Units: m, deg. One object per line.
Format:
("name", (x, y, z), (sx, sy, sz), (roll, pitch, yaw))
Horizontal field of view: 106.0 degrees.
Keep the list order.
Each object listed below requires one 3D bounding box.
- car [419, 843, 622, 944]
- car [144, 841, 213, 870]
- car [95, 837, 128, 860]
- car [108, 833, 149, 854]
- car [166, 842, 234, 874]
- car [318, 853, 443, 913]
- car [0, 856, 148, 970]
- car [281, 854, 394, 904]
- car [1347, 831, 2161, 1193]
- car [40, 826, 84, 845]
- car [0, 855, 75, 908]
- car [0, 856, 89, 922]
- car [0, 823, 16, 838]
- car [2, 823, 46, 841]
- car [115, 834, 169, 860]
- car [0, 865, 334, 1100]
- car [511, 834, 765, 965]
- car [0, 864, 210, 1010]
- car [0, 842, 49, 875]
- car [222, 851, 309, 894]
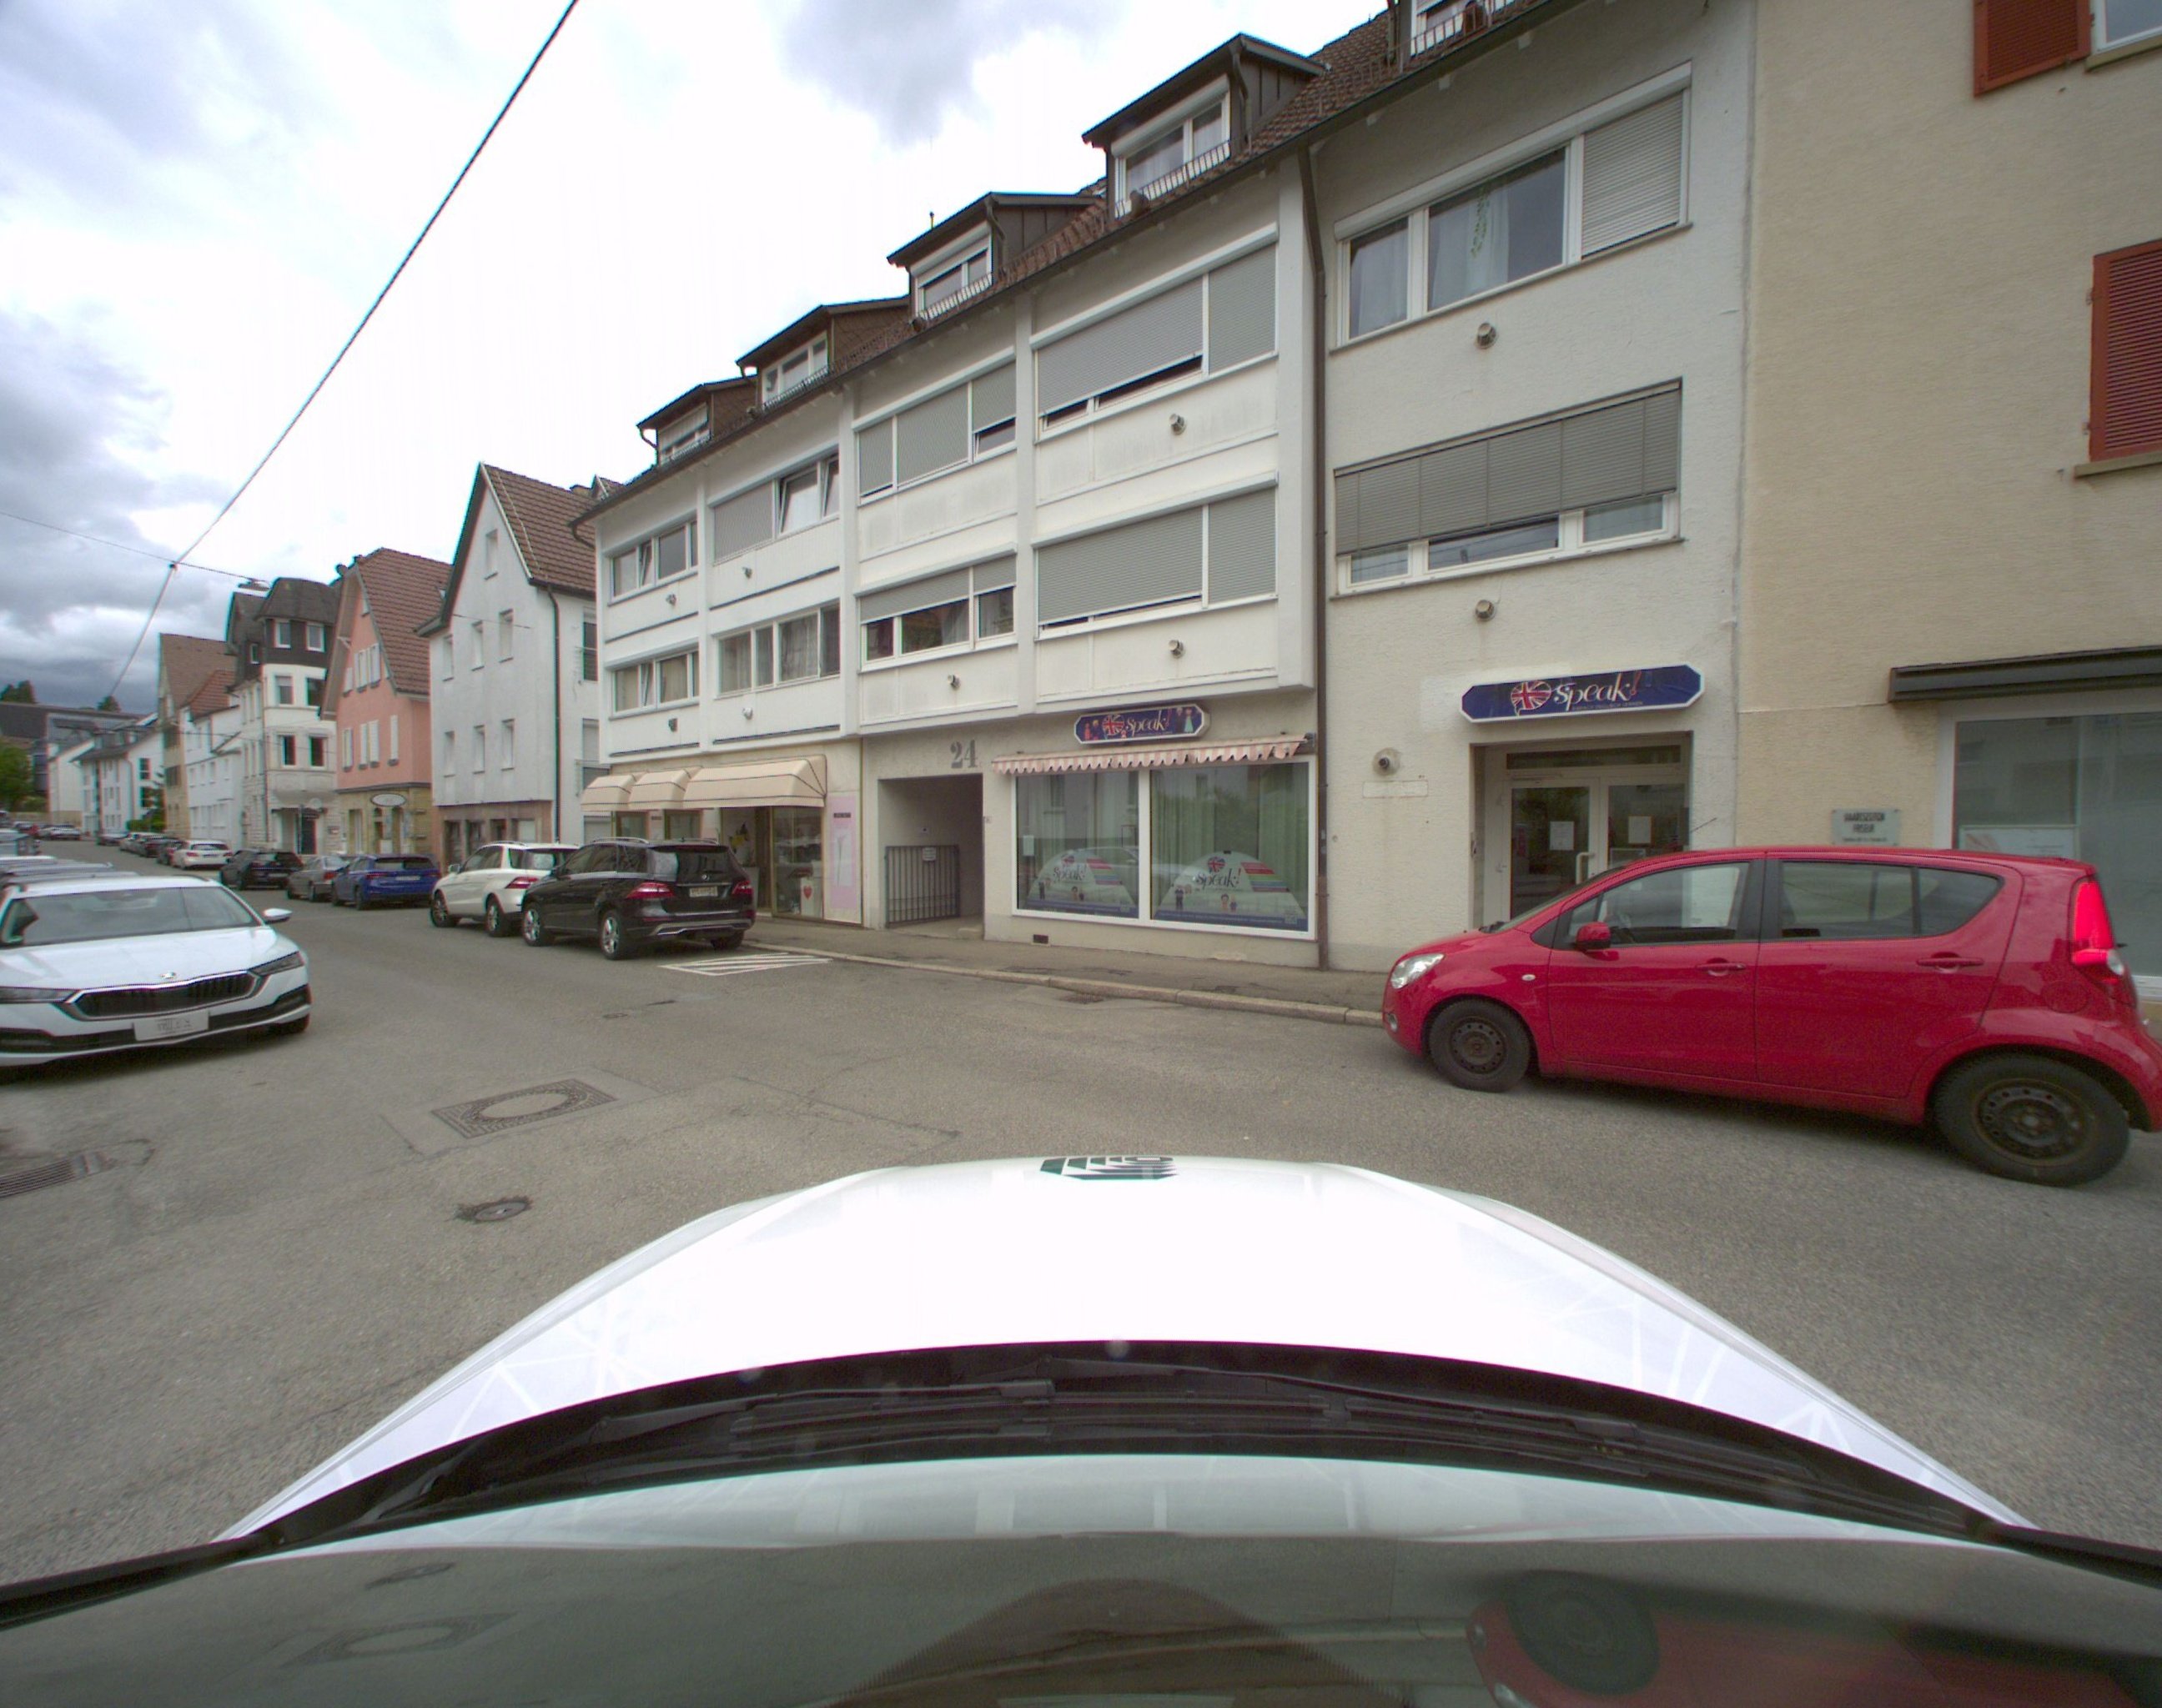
("car", (-11.202, 0.657, 16.194), (4.320, 1.711, 1.952), (1, 1, 36))
("car", (-51.588, 0.052, 46.546), (3.949, 1.574, 1.973), (1, 1, 32))
("car", (-78.726, -0.458, 66.122), (3.168, 1.759, 1.594), (-1, 0, 37))
("car", (-64.405, -0.712, 55.077), (2.865, 1.306, 1.421), (3, 2, 33))
("car", (-47.277, 0.162, 43.683), (3.852, 1.525, 1.783), (3, 2, 32))
("car", (-19.046, 0.721, 22.113), (3.733, 1.475, 1.791), (0, 1, 37))
("car", (-16.533, 0.848, 12.992), (3.930, 1.495, 1.786), (0, 4, 37))
("car", (-22.957, 0.724, 25.113), (3.979, 1.391, 1.766), (0, 0, 35))
("car", (3.819, 0.688, 5.235), (3.647, 1.556, 1.708), (0, -1, 38))
("car", (-94.960, -1.742, 75.891), (3.950, 1.667, 1.776), (2, 0, 28))
("car", (-31.204, 0.768, 24.097), (3.357, 1.422, 1.602), (0, 2, 37))
("car", (-25.231, 0.790, 19.696), (3.756, 1.358, 1.295), (1, 3, 36))
("car", (-118.956, -2.617, 89.344), (3.668, 1.604, 1.906), (2, 0, 27))
("car", (-105.009, -2.153, 80.900), (3.924, 1.645, 1.906), (2, 0, 27))
("car", (-59.962, -0.462, 52.013), (3.785, 1.574, 1.744), (2, 2, 33))
("car", (-8.707, 0.910, 7.431), (4.240, 1.460, 1.811), (0, 3, 34))
("car", (-7.239, 0.631, 13.166), (4.312, 1.780, 1.960), (0, -1, 36))
("car", (-12.798, 0.908, 10.358), (4.117, 1.417, 1.786), (0, 3, 36))
("car", (-51.046, 0.176, 39.096), (3.949, 1.464, 1.690), (1, 0, 36))
("car", (-31.603, 0.682, 31.541), (3.753, 1.549, 1.729), (1, 0, 35))
